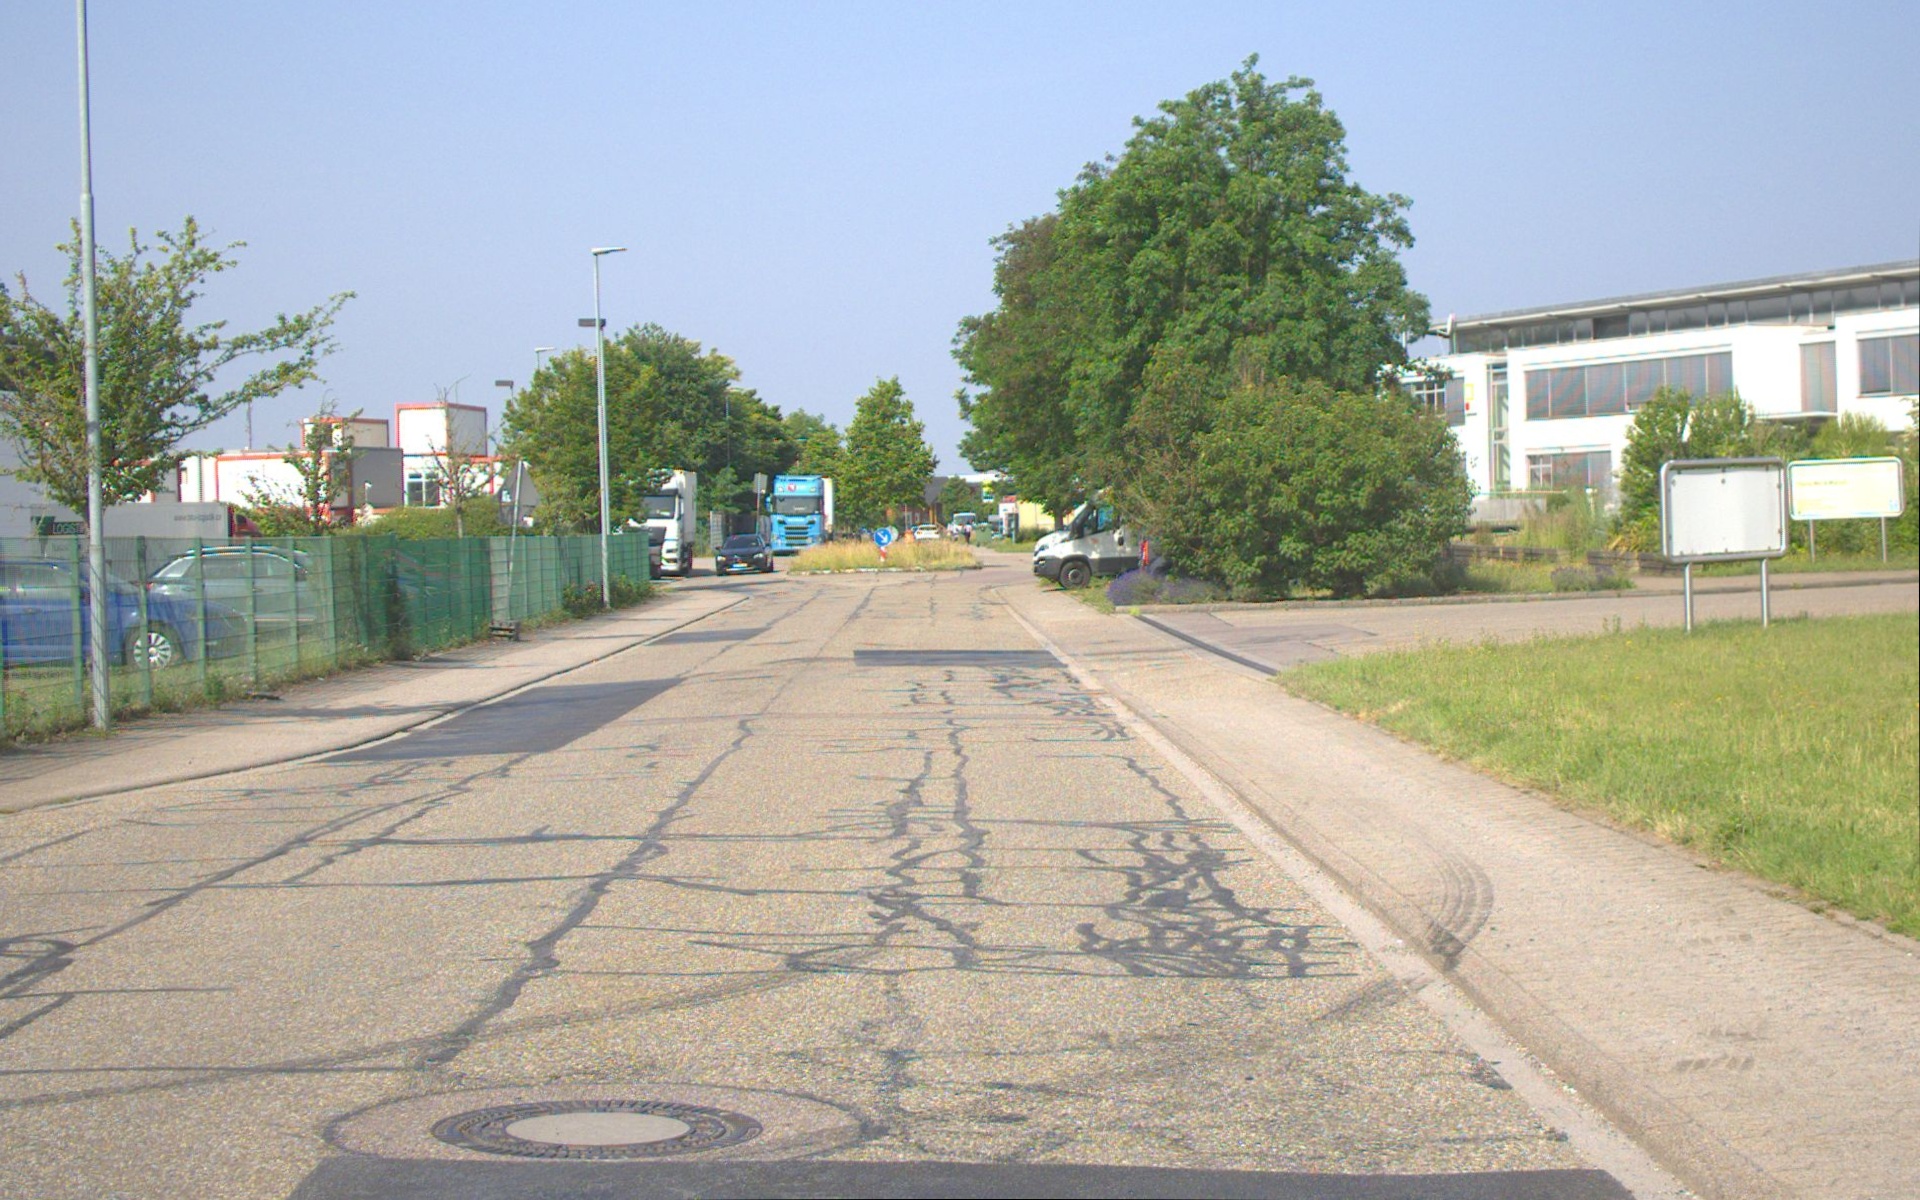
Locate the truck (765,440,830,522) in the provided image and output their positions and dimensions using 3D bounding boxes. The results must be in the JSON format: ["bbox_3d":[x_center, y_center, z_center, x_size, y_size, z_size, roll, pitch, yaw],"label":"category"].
[{"bbox_3d":[-7.935,-5.784,168.620,2.825,3.812,9.673,0,1,-1],"label":"truck"}]

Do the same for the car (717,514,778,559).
[{"bbox_3d":[-7.643,-2.300,124.124,1.993,1.444,4.420,-4,2,-2],"label":"car"}]

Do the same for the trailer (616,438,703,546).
[{"bbox_3d":[-11.194,-3.976,128.553,2.699,3.908,7.576,0,1,-1],"label":"trailer"}]

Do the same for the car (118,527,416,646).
[{"bbox_3d":[-10.576,-0.226,52.691,4.127,1.562,1.865,-3,2,-1],"label":"car"}]

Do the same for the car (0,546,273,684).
[{"bbox_3d":[-10.792,0.211,41.101,4.685,1.439,2.078,-3,2,-1],"label":"car"}]

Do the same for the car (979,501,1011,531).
[{"bbox_3d":[2.124,-5.124,209.492,1.792,1.744,4.000,0,1,-1],"label":"car"}]

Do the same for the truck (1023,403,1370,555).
[{"bbox_3d":[5.760,-2.952,84.703,8.208,3.358,2.741,-2,1,-1],"label":"truck"}]

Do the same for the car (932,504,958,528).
[{"bbox_3d":[-1.099,-5.975,244.759,1.718,1.655,3.824,0,1,-2],"label":"car"}]

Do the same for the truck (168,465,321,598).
[{"bbox_3d":[-22.476,-2.135,108.213,2.514,4.057,5.540,1,1,15],"label":"truck"}]

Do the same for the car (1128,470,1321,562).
[{"bbox_3d":[5.669,-1.820,74.085,3.987,1.831,2.000,-2,2,1],"label":"car"}]

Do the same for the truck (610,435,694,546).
[{"bbox_3d":[-11.120,-3.916,124.324,2.708,3.908,4.297,0,1,-1],"label":"truck"}]

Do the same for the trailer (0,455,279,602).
[{"bbox_3d":[-24.342,-2.056,101.223,2.483,4.027,13.879,1,1,15],"label":"trailer"}]

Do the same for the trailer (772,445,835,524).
[{"bbox_3d":[-8.081,-5.915,178.623,2.831,3.829,12.037,0,1,-1],"label":"trailer"}]
